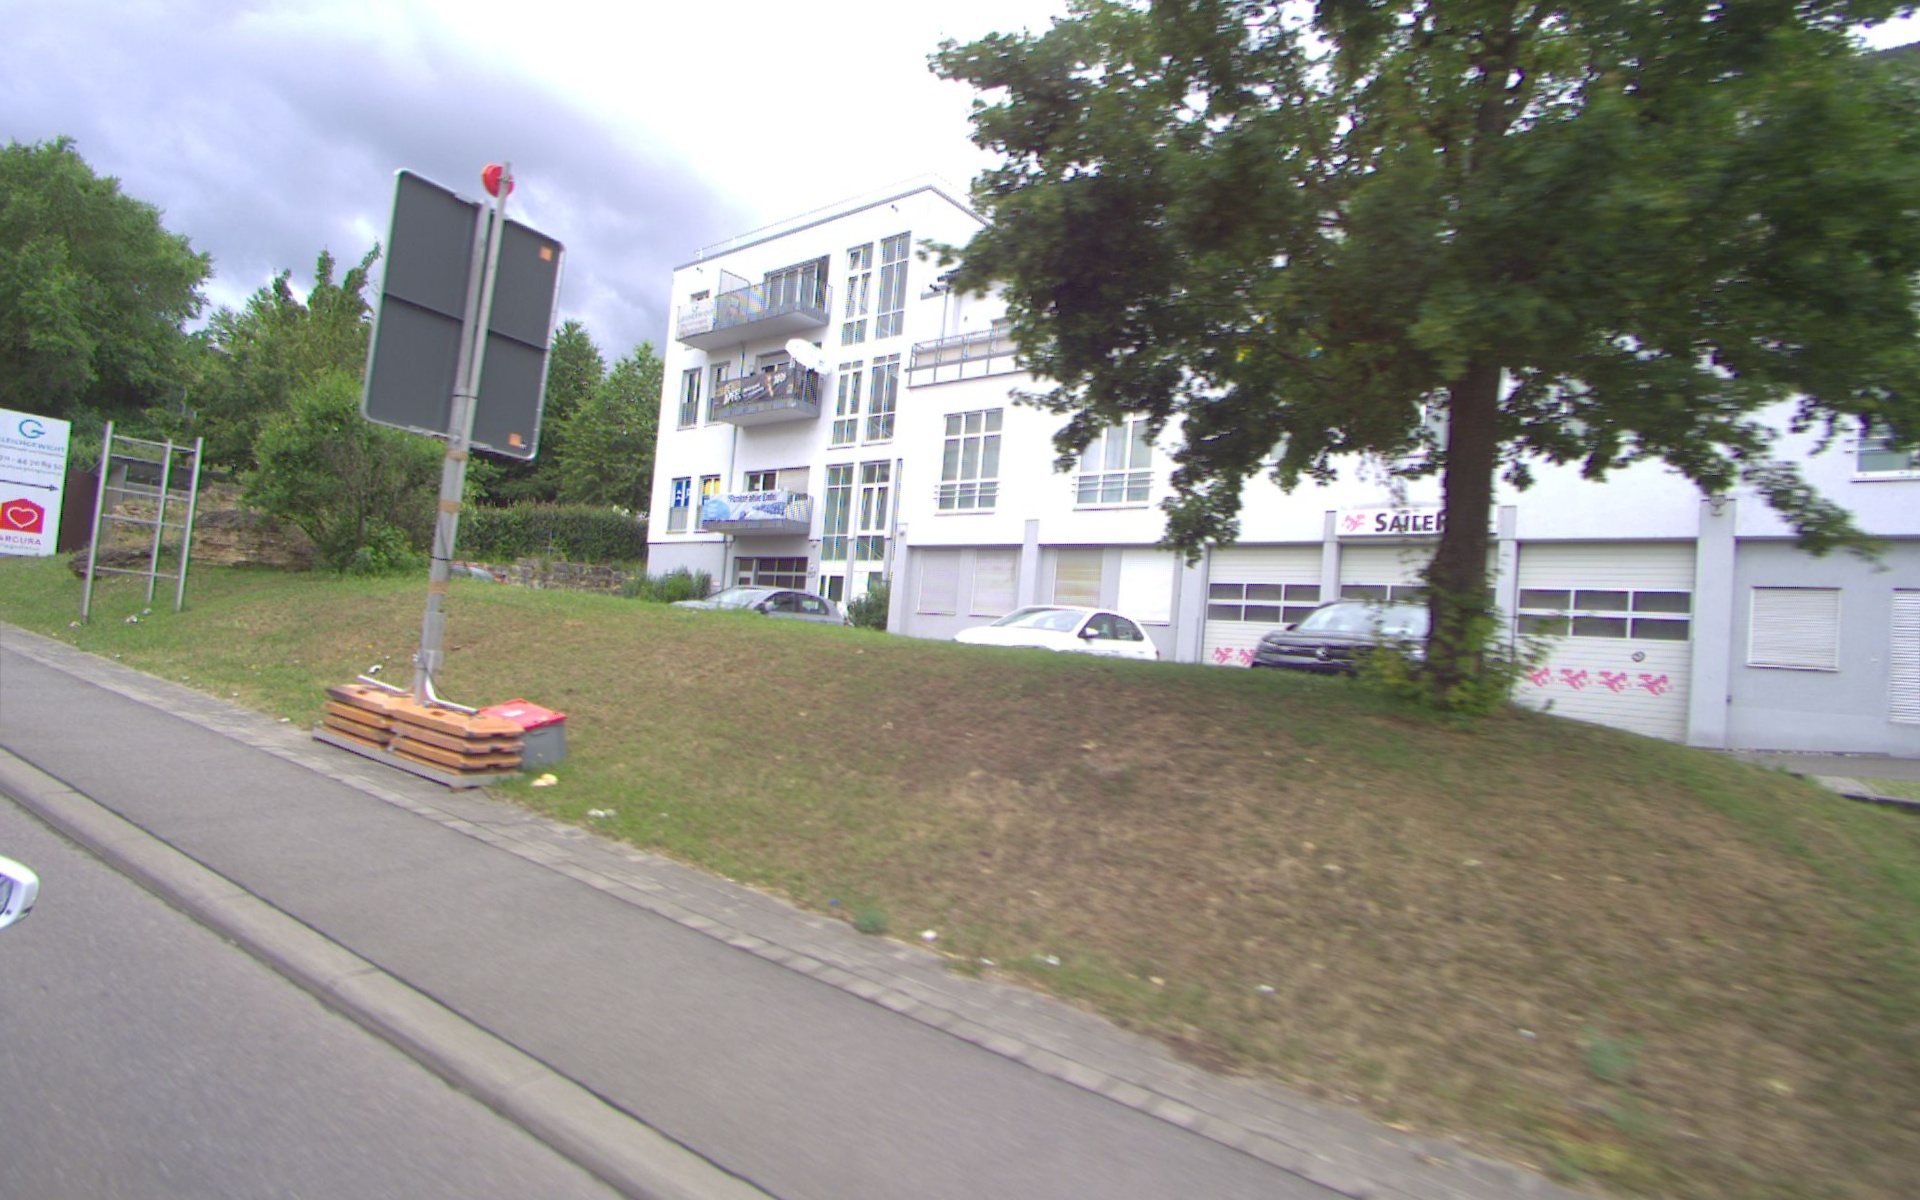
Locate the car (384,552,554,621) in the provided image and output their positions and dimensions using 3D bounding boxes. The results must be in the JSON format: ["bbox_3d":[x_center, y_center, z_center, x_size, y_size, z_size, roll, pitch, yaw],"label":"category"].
[{"bbox_3d":[-14.959,-0.391,30.838,1.736,1.466,4.237,6,-3,42],"label":"car"}]

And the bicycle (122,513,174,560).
[{"bbox_3d":[-17.399,-1.373,21.549,1.459,0.886,0.491,6,-1,38],"label":"bicycle"}]

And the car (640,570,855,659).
[{"bbox_3d":[-4.085,0.331,19.863,1.807,1.368,3.874,4,-3,36],"label":"car"}]

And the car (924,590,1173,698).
[{"bbox_3d":[1.425,0.704,14.787,1.842,1.246,3.873,4,-3,37],"label":"car"}]

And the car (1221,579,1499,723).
[{"bbox_3d":[4.658,0.637,11.352,1.884,1.246,4.039,3,-3,37],"label":"car"}]
